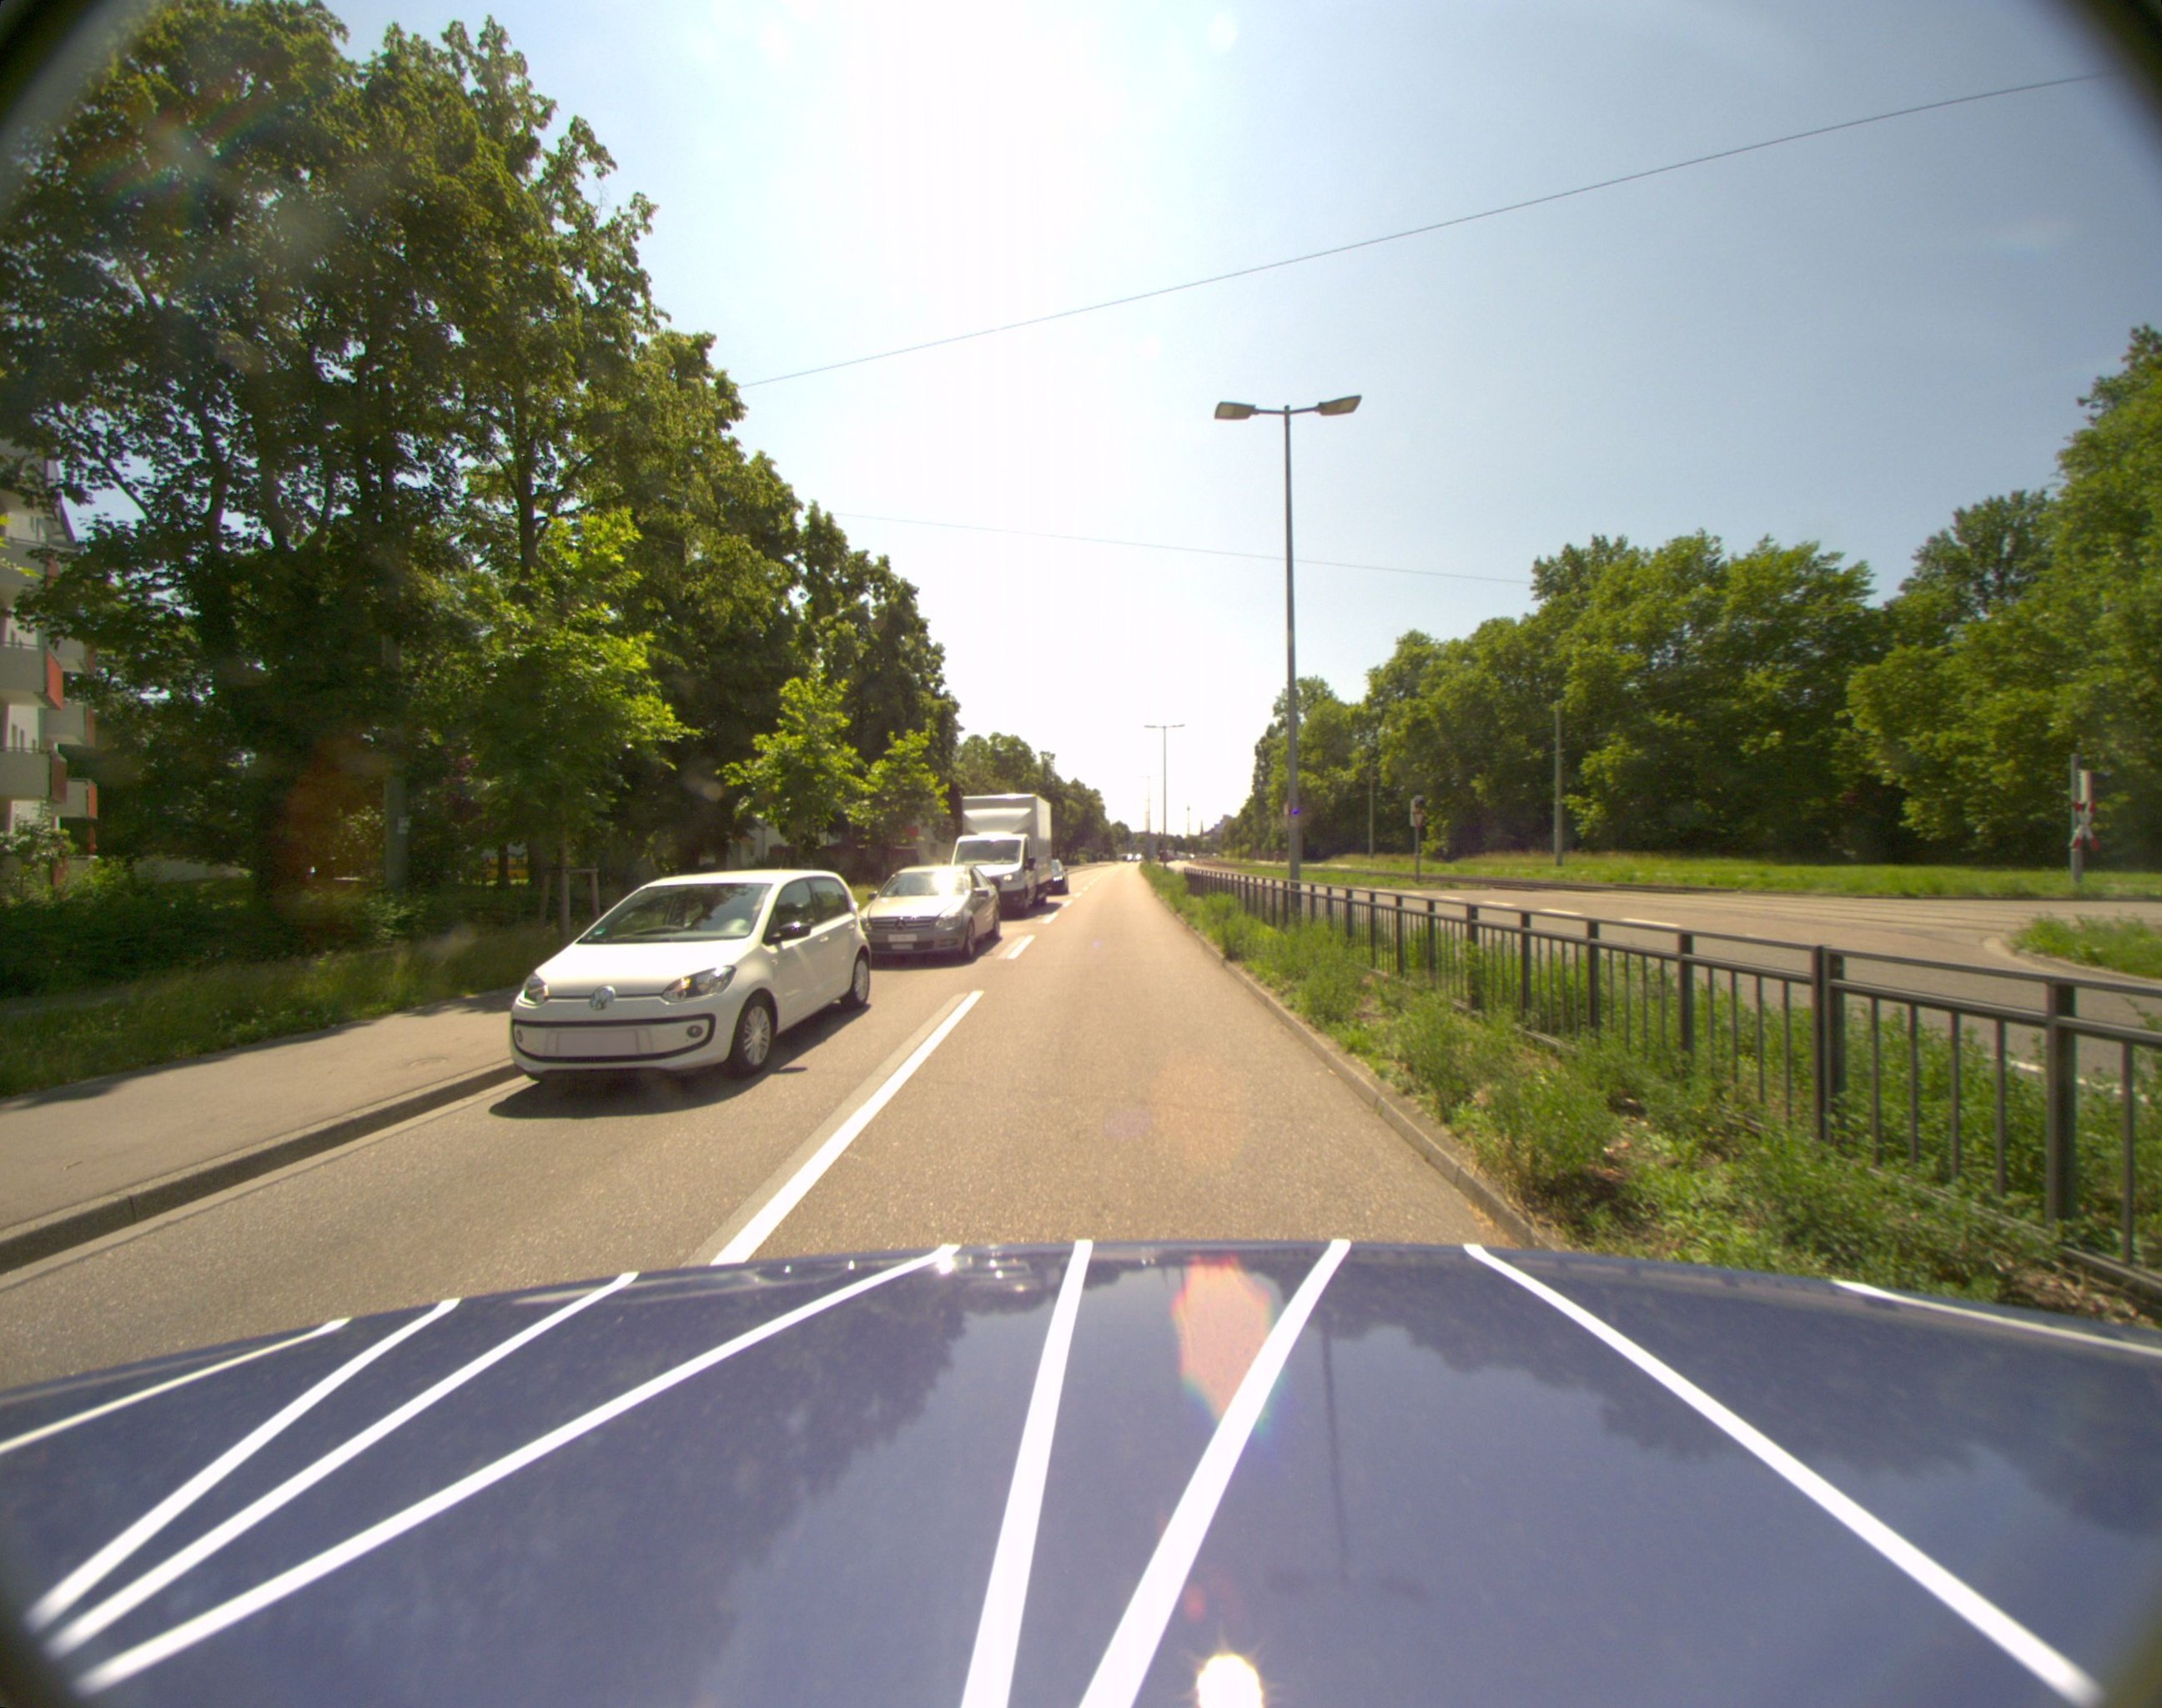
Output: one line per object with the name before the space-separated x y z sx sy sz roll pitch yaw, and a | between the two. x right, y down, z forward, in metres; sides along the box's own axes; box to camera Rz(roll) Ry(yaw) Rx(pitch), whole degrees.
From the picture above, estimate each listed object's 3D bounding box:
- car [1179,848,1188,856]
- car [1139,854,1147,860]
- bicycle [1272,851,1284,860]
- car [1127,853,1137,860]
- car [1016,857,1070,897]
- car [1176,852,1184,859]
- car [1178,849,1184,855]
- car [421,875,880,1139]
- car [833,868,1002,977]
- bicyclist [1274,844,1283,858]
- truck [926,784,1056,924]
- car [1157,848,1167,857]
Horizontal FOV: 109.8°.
car | 27.079 -0.545 200.880 1.998 1.847 4.001 -1 0 5
car | 16.432 0.748 201.114 1.997 1.499 4.002 -1 0 7
bicycle | 25.287 0.161 97.619 0.862 1.155 2.787 -1 0 1
car | 11.611 0.624 171.841 1.997 1.499 4.002 -1 0 7
car | -1.518 0.911 31.791 1.998 1.499 4.000 -1 0 1
car | 26.917 0.299 207.424 1.998 1.847 4.001 -1 0 5
car | 32.717 -0.639 248.747 1.997 2.002 4.001 -2 1 7
car | -3.121 0.987 6.518 1.730 1.470 3.771 -1 0 1
car | -2.470 0.984 12.539 1.840 1.400 4.087 -1 0 1
bicyclist | 25.302 -0.360 97.557 0.862 1.796 1.118 -1 1 1
truck | -2.295 -0.010 22.278 2.433 3.326 7.923 -1 0 3
car | 16.485 -0.250 154.008 1.997 1.847 4.002 -1 0 7
